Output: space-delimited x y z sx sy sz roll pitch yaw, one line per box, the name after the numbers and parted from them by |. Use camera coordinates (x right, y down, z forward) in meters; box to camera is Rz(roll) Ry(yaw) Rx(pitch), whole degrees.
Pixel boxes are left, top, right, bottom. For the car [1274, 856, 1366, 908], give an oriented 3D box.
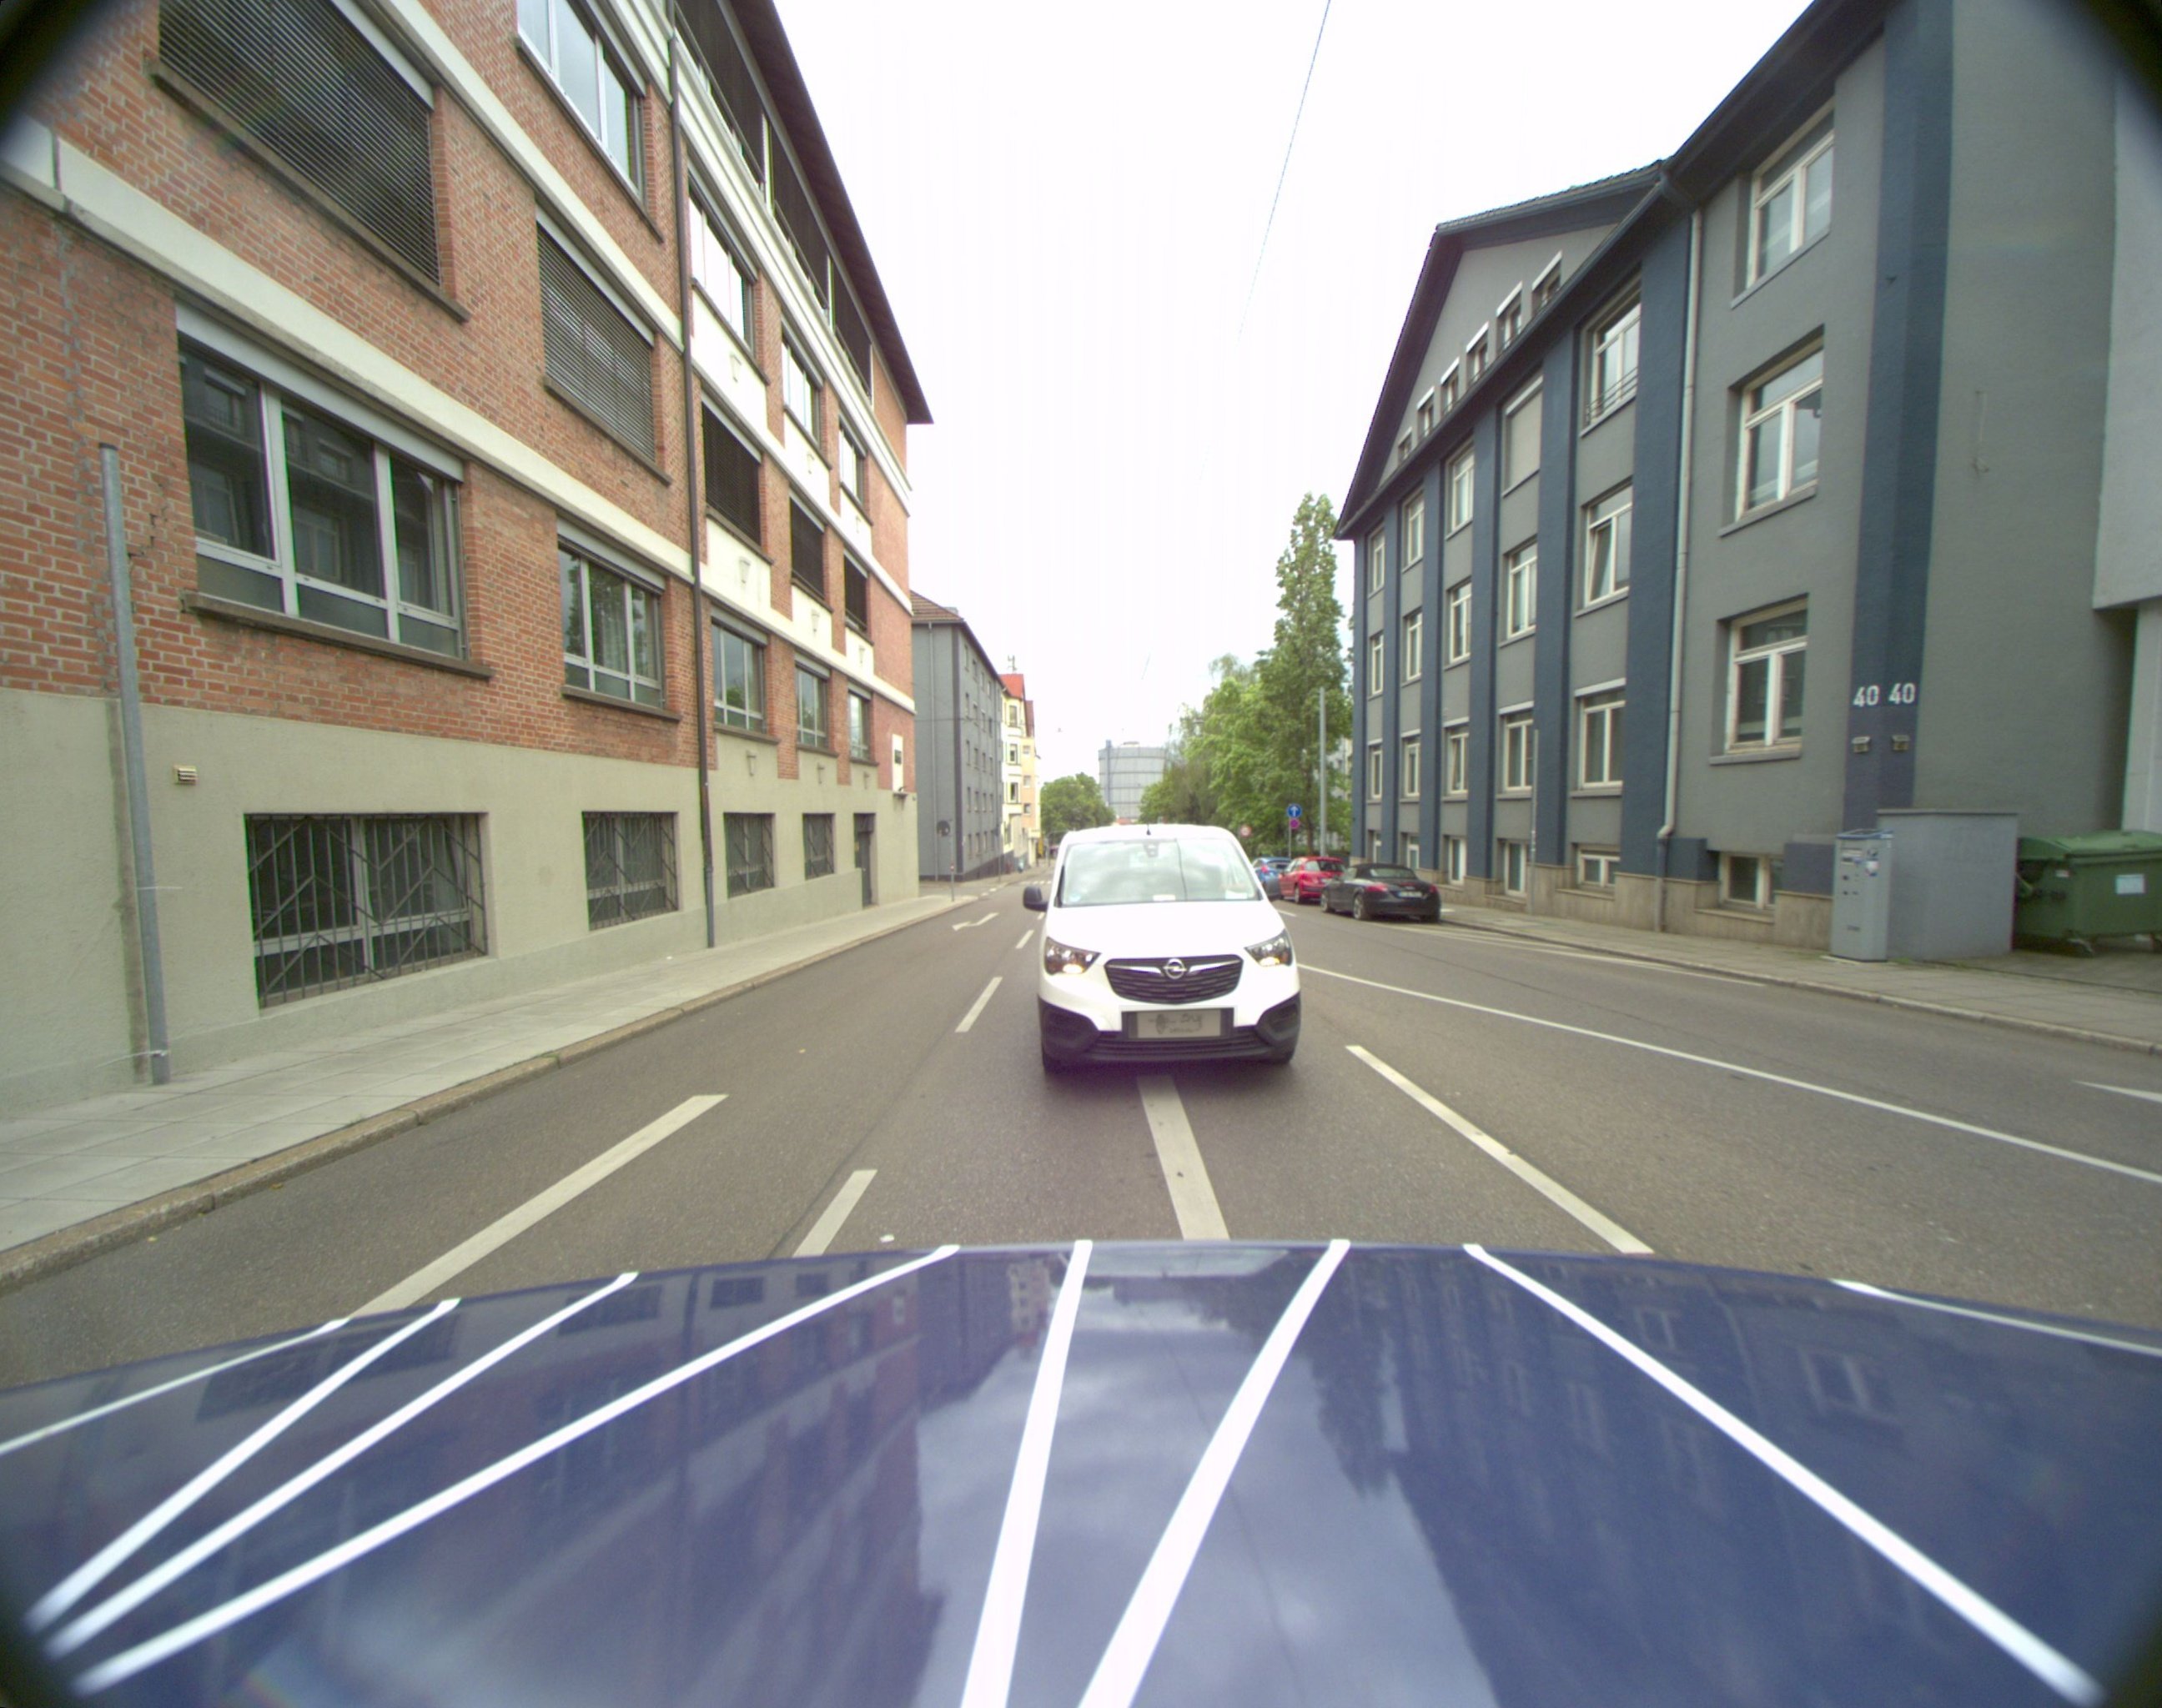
7.520 0.832 24.300 1.819 1.465 3.869 2 0 2 | car

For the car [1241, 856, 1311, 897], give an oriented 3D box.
7.563 0.827 29.771 1.724 1.445 3.727 1 0 0 | car

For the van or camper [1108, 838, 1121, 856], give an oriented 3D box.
5.200 -1.017 119.931 1.914 2.754 5.925 1 0 2 | van or camper

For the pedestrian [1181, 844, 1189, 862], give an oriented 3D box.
11.142 -0.096 81.250 0.746 1.839 0.776 -1 1 2 | pedestrian

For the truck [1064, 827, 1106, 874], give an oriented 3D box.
0.380 -0.302 61.965 2.980 3.394 9.358 -2 0 1 | truck

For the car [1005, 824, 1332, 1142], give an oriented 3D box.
0.559 0.747 6.914 1.840 1.797 4.939 -2 0 1 | car

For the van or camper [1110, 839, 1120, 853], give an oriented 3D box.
6.746 -1.550 149.780 1.914 2.754 5.925 1 0 2 | van or camper

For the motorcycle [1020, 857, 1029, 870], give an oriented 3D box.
-5.053 0.841 68.517 0.566 1.105 1.653 4 0 2 | motorcycle

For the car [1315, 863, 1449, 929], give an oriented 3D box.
7.190 0.943 18.603 1.724 1.319 4.041 2 0 1 | car

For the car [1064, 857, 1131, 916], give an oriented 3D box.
0.486 0.857 21.677 1.724 1.486 3.727 1 0 2 | car

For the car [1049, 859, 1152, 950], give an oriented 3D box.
0.388 0.876 14.766 1.724 1.486 3.727 1 0 2 | car

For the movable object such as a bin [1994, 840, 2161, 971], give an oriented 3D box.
12.085 0.589 9.104 1.267 1.448 0.784 -3 2 4 | movable object such as a bin
